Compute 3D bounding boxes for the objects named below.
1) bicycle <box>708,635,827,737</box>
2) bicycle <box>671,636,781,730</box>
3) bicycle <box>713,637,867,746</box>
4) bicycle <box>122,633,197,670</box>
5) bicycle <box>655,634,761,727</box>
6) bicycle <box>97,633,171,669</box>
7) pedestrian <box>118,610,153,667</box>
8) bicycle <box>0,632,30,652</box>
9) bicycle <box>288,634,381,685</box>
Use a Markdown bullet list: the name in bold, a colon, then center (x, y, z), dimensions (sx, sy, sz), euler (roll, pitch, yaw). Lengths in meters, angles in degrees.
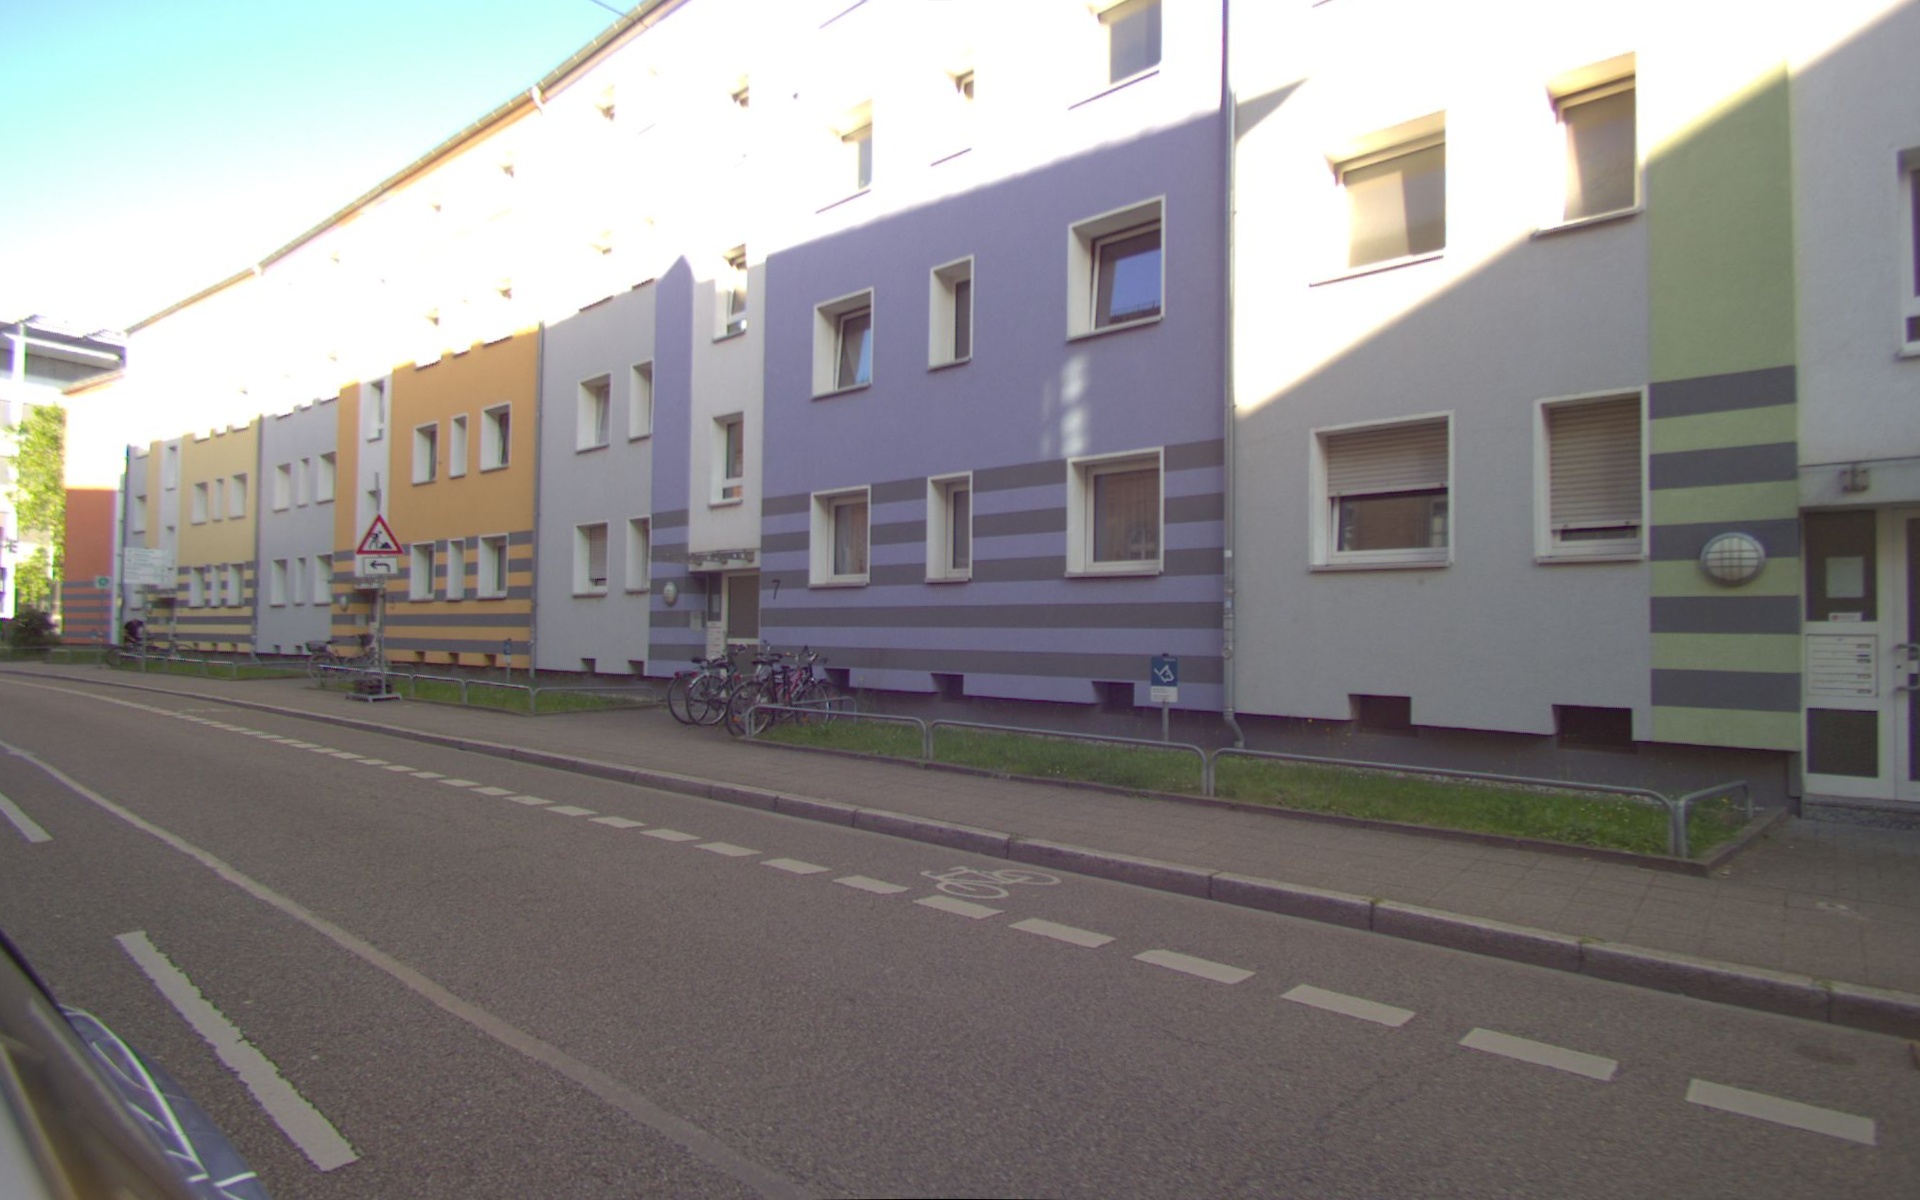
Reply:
- **bicycle**: center (-2.482, 1.089, 13.225), dimensions (0.466, 1.251, 1.623), euler (-1, -3, 38)
- **bicycle**: center (-3.262, 1.136, 14.247), dimensions (0.448, 1.251, 1.569), euler (-1, -3, 38)
- **bicycle**: center (-2.069, 1.086, 12.596), dimensions (0.622, 1.241, 1.989), euler (-1, -3, 38)
- **bicycle**: center (-25.700, 1.632, 32.512), dimensions (0.648, 1.154, 1.739), euler (-1, -2, 30)
- **bicycle**: center (-3.587, 1.123, 14.510), dimensions (0.383, 1.251, 1.564), euler (-1, -3, 38)
- **bicycle**: center (-26.986, 1.648, 33.091), dimensions (0.648, 1.154, 1.739), euler (-1, -2, 30)
- **pedestrian**: center (-27.199, 1.269, 33.411), dimensions (0.709, 1.869, 0.872), euler (2, -3, -30)
- **bicycle**: center (-56.299, 2.485, 59.945), dimensions (1.965, 1.191, 0.470), euler (0, -2, 0)
- **bicycle**: center (-14.621, 1.371, 23.709), dimensions (0.648, 1.154, 1.739), euler (-1, -2, 30)
